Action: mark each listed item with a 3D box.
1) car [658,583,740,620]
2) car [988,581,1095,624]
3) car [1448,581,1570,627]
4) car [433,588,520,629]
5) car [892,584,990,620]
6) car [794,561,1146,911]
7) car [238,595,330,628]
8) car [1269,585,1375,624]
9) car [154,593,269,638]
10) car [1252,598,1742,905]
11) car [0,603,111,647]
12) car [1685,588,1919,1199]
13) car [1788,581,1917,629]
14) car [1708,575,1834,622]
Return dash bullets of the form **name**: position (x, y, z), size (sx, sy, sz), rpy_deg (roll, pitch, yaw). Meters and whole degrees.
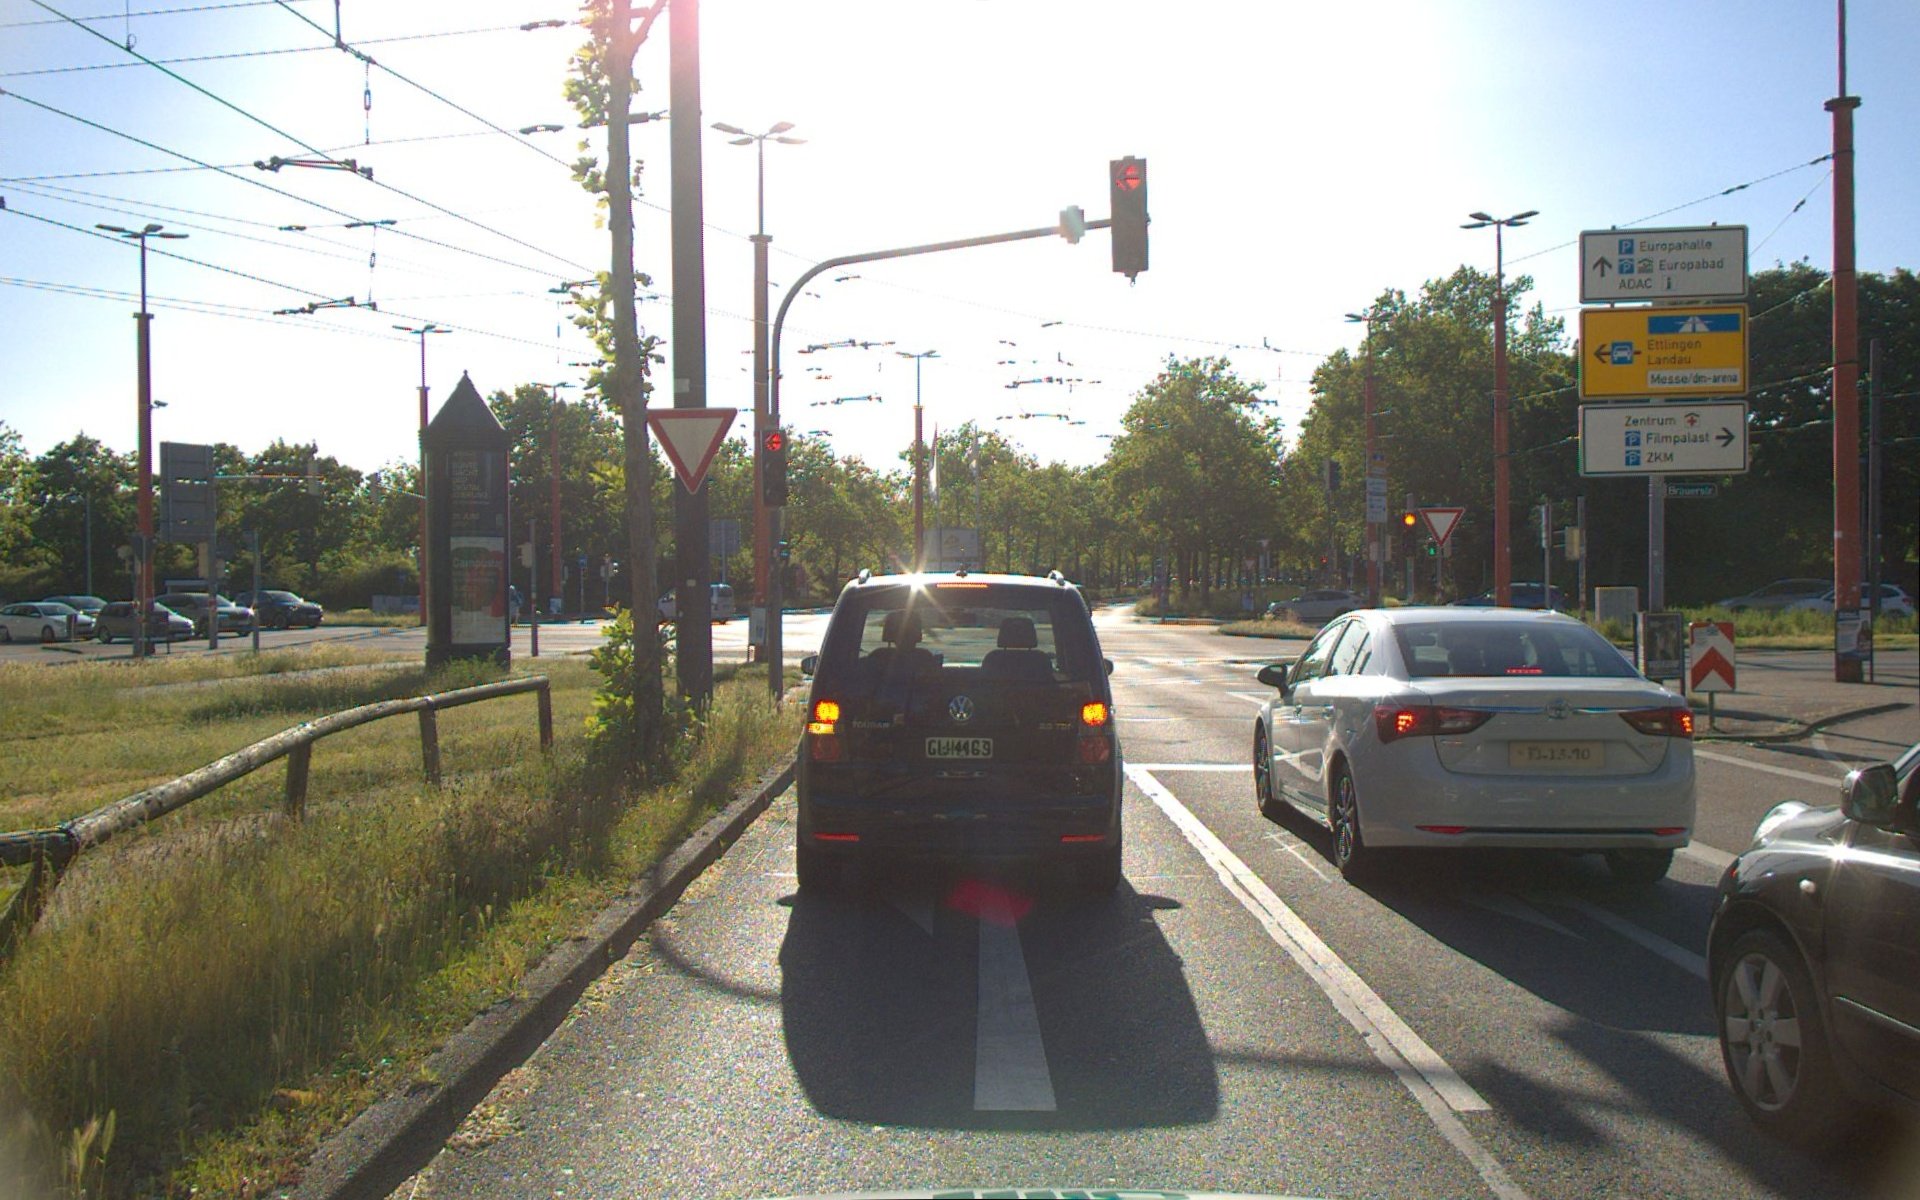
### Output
- **car**: position (-12.636, 0.070, 80.082), size (3.570, 1.684, 1.679), rpy_deg (1, 0, 25)
- **car**: position (3.378, 0.101, 68.694), size (4.097, 1.673, 1.758), rpy_deg (1, 0, 26)
- **car**: position (20.040, 0.147, 60.377), size (4.039, 1.626, 1.827), rpy_deg (0, 0, 27)
- **car**: position (-23.682, 0.429, 81.038), size (3.754, 1.923, 1.763), rpy_deg (1, 0, 22)
- **car**: position (-0.863, 0.081, 74.509), size (4.040, 1.537, 1.821), rpy_deg (1, 0, 26)
- **car**: position (0.012, 0.635, 9.798), size (1.666, 1.650, 3.896), rpy_deg (0, 0, -1)
- **car**: position (-29.266, 0.483, 71.591), size (3.913, 1.353, 1.694), rpy_deg (0, 0, 31)
- **car**: position (14.584, 0.196, 66.612), size (3.887, 1.466, 1.685), rpy_deg (1, 0, 27)
- **car**: position (-28.973, 0.583, 64.051), size (3.907, 1.673, 1.999), rpy_deg (0, 0, 24)
- **car**: position (2.980, 0.732, 10.140), size (1.685, 1.463, 4.198), rpy_deg (1, 0, 1)
- **car**: position (-34.664, 0.924, 63.188), size (4.091, 1.640, 1.867), rpy_deg (0, 0, 25)
- **car**: position (3.176, 0.749, 3.565), size (1.620, 1.526, 3.614), rpy_deg (1, 0, 0)
- **car**: position (29.777, 0.154, 55.289), size (3.745, 1.549, 1.693), rpy_deg (0, 0, 27)
- **car**: position (29.453, -0.050, 60.096), size (4.040, 1.672, 1.850), rpy_deg (0, 0, 27)
